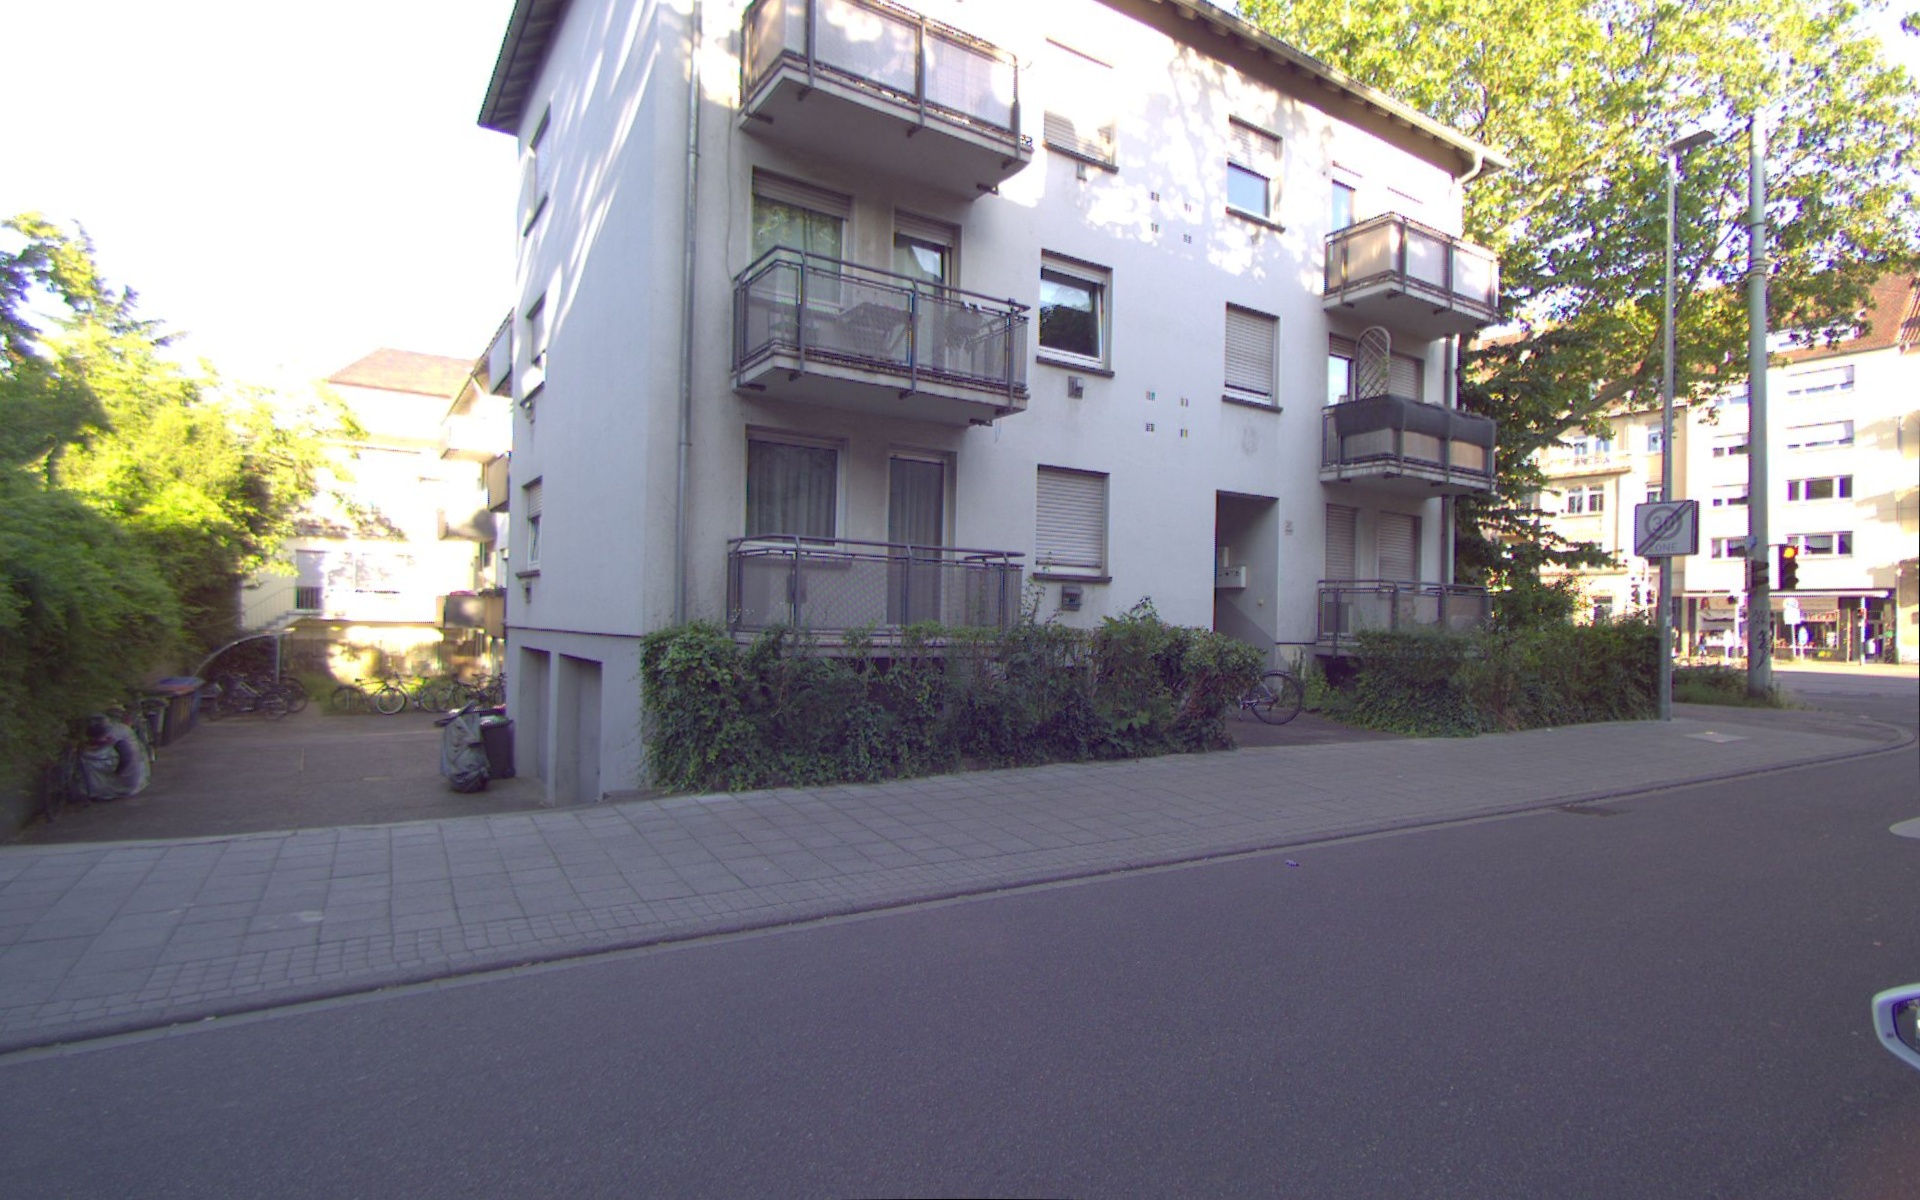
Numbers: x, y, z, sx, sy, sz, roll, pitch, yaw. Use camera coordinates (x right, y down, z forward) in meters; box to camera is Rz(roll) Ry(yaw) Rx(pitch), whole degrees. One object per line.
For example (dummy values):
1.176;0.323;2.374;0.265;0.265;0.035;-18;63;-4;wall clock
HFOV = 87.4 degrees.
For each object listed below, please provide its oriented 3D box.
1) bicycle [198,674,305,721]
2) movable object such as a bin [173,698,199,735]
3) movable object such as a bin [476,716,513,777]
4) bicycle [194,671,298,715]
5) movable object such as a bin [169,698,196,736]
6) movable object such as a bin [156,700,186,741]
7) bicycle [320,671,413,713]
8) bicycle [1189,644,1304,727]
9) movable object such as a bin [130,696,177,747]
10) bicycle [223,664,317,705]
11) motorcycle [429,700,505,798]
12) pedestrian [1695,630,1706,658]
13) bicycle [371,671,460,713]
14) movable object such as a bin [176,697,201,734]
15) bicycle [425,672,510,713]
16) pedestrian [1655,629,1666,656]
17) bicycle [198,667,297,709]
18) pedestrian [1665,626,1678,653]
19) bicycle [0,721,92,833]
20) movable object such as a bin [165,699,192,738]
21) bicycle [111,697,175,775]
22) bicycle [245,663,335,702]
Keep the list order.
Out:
-17.279;2.383;24.555;2.045;1.034;0.637;4;0;-30;bicycle
-16.406;2.460;21.289;0.362;0.768;0.361;2;-4;-30;movable object such as a bin
-7.504;2.349;16.187;0.428;0.899;0.720;1;-2;-34;movable object such as a bin
-18.030;2.364;25.433;2.045;1.034;0.568;4;0;-30;bicycle
-16.212;2.441;20.949;0.362;0.768;0.361;2;-4;-30;movable object such as a bin
-15.671;2.388;19.965;0.393;0.784;0.361;2;-4;-30;movable object such as a bin
-15.696;2.441;26.618;2.045;1.034;0.637;4;0;-30;bicycle
3.880;1.144;13.618;1.433;0.988;0.407;3;0;21;bicycle
-14.953;2.247;18.626;0.570;0.891;0.491;2;-4;-30;movable object such as a bin
-18.998;2.346;27.697;2.045;1.034;0.611;4;0;-30;bicycle
-7.392;2.186;15.034;0.751;1.268;1.577;1;-2;-36;motorcycle
42.117;2.504;57.116;0.467;1.531;0.429;0;-1;41;pedestrian
-14.723;2.501;27.194;2.045;1.034;0.637;4;0;-30;bicycle
-16.606;2.487;21.626;0.342;0.768;0.361;2;-4;-30;movable object such as a bin
-13.641;2.566;27.828;2.045;1.034;0.637;4;0;-30;bicycle
41.273;2.497;59.165;0.501;1.531;0.535;0;-1;33;pedestrian
-18.863;2.345;26.660;2.045;1.034;0.611;4;0;-30;bicycle
40.871;2.259;57.691;0.558;1.531;0.499;0;-1;41;pedestrian
-10.997;2.081;12.074;0.509;1.033;1.922;3;-1;-32;bicycle
-16.025;2.424;20.600;0.371;0.768;0.361;2;-4;-30;movable object such as a bin
-13.224;2.173;16.298;0.509;1.033;1.922;3;-1;-32;bicycle
-19.021;2.350;28.569;2.045;1.034;0.564;4;0;-30;bicycle
